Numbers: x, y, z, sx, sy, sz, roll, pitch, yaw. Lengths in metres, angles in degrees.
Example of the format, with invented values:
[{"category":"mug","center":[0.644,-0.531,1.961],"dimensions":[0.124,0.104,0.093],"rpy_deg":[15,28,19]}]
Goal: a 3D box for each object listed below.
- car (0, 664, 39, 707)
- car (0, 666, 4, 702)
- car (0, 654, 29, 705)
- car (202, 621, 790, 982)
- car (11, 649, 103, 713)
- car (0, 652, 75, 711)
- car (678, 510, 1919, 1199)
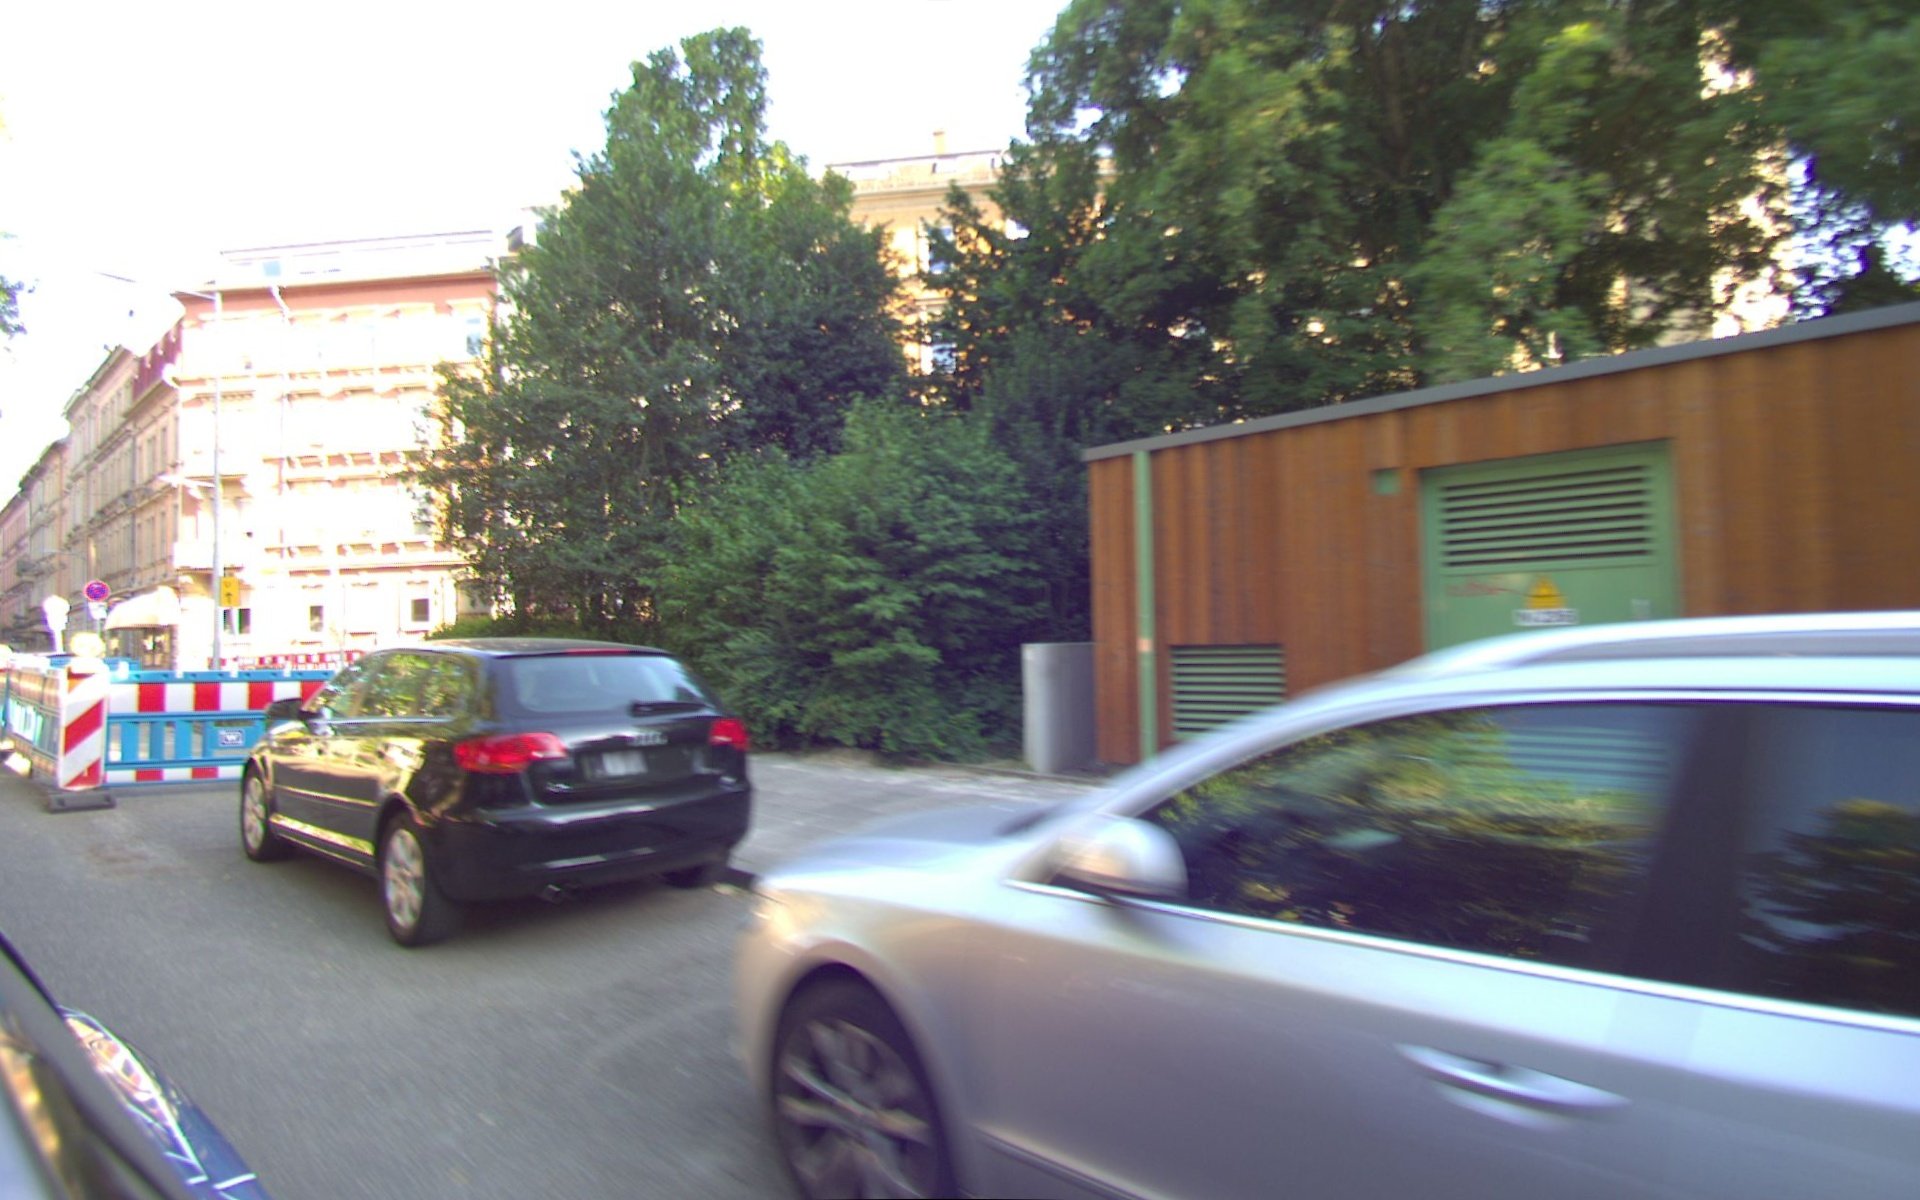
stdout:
[{"category":"car","center":[-39.076,3.451,41.375],"dimensions":[4.193,1.581,1.680],"rpy_deg":[-2,-4,43]},{"category":"car","center":[-50.411,4.252,51.892],"dimensions":[4.193,1.764,1.680],"rpy_deg":[-2,-4,43]},{"category":"car","center":[-42.898,3.491,45.069],"dimensions":[4.193,2.132,1.680],"rpy_deg":[-2,-4,43]},{"category":"car","center":[-2.991,0.870,6.038],"dimensions":[4.193,1.410,1.680],"rpy_deg":[-2,-4,43]},{"category":"car","center":[-28.269,2.479,31.636],"dimensions":[4.193,1.818,1.680],"rpy_deg":[-2,-4,43]},{"category":"car","center":[-31.878,2.734,34.792],"dimensions":[4.193,1.854,1.680],"rpy_deg":[-2,-4,43]},{"category":"car","center":[1.479,0.694,1.836],"dimensions":[4.549,1.509,1.680],"rpy_deg":[-2,-4,43]}]
